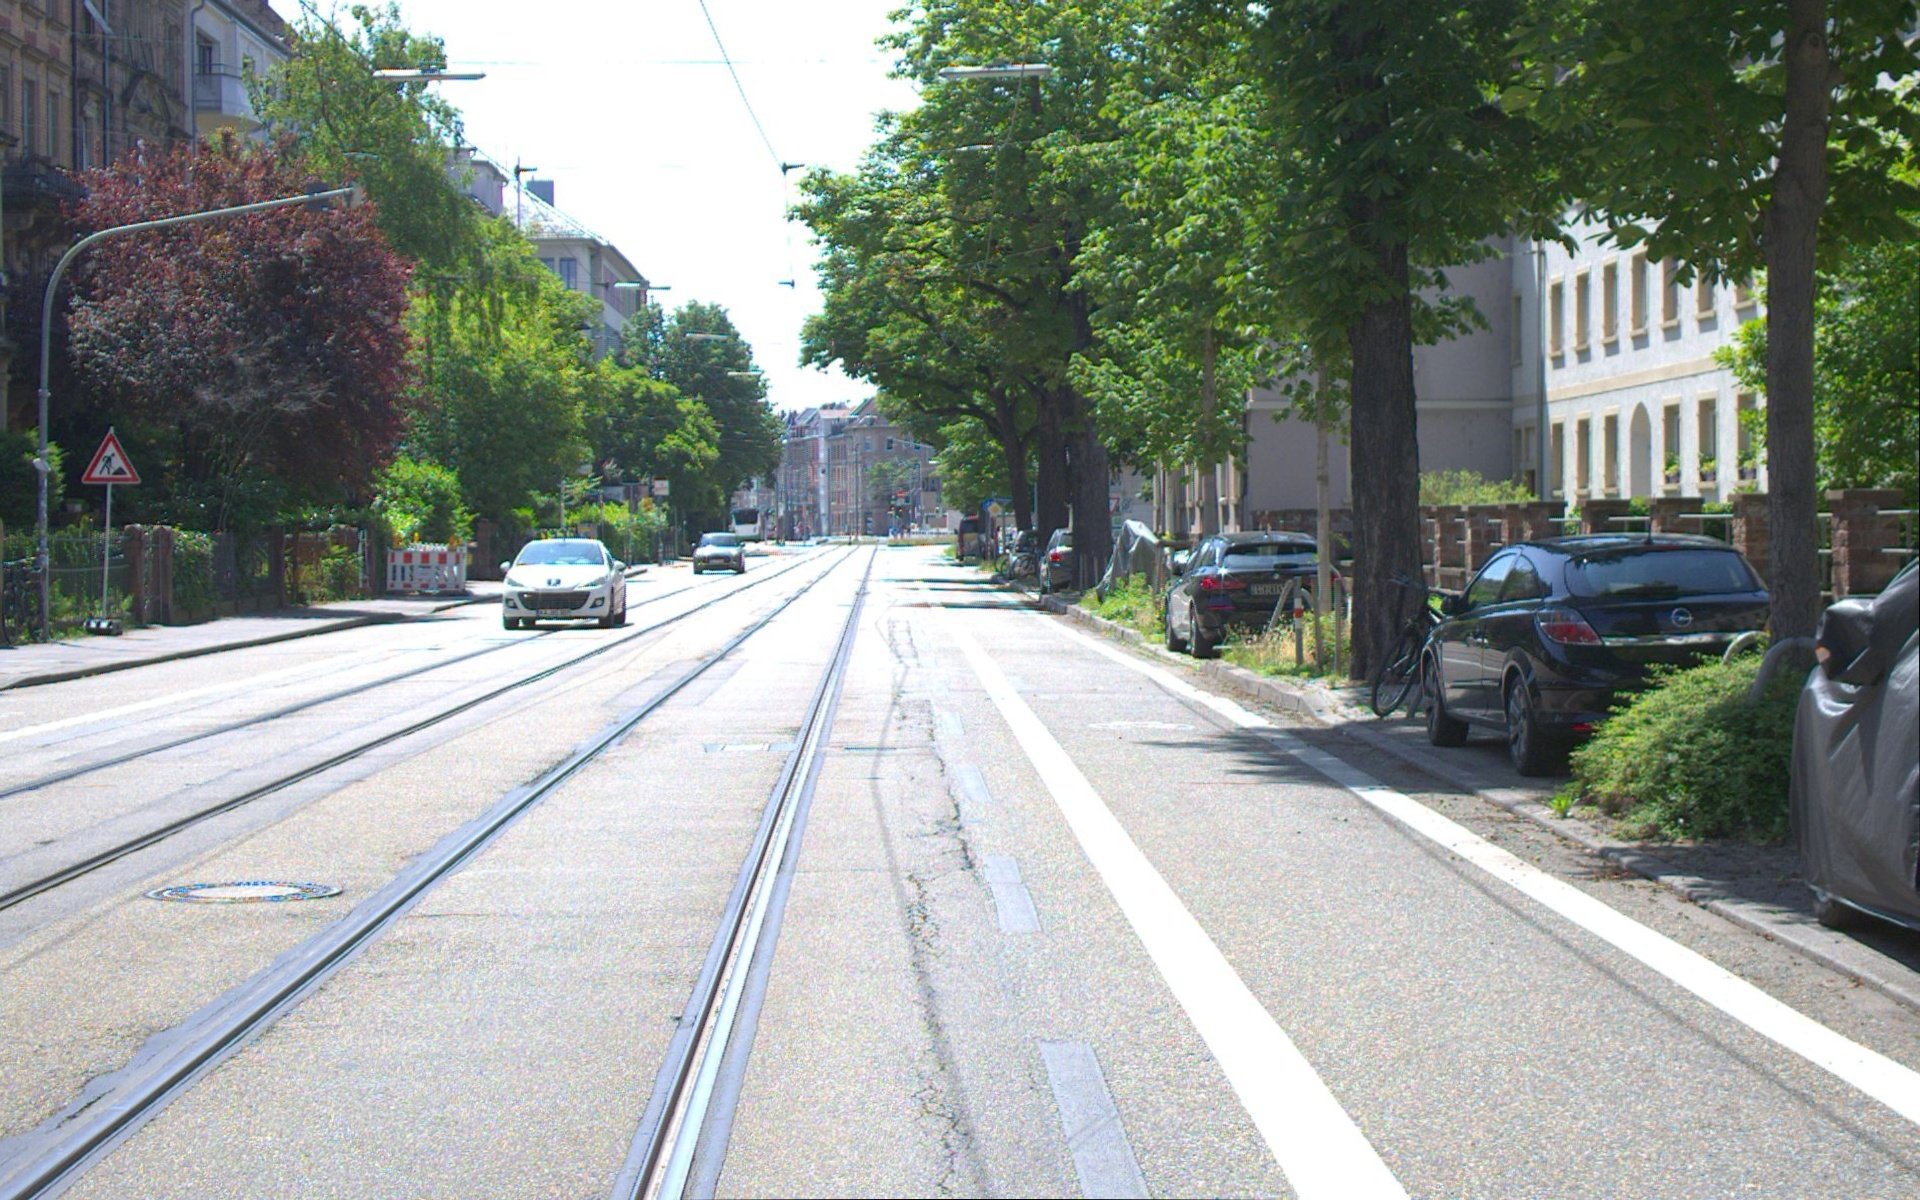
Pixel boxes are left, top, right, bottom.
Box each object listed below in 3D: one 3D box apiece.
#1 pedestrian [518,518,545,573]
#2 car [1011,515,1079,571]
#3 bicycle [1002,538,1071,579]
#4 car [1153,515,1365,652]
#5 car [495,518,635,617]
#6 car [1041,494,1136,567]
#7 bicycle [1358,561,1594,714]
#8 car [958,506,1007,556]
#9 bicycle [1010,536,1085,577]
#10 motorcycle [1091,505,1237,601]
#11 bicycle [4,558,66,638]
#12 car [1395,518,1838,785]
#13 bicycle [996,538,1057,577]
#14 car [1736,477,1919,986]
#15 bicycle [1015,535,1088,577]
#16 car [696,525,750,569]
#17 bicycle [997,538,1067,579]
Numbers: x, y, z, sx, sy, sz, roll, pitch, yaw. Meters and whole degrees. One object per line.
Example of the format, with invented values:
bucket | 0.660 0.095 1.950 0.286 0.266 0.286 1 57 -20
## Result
pedestrian | -12.830 -1.636 102.872 0.750 1.623 0.833 -1 1 -7
car | 2.376 -1.621 96.882 1.621 1.443 3.810 -4 1 -1
bicycle | 2.245 -1.212 101.082 1.963 1.109 0.598 -3 0 1
car | 3.497 -0.243 41.069 1.769 1.421 4.863 -2 2 -4
car | -6.243 -0.545 54.666 1.756 1.419 4.000 -2 2 -1
car | 2.888 -1.602 78.064 1.774 1.496 4.306 -3 2 -2
bicycle | 3.943 0.277 26.291 1.652 1.074 0.606 -2 2 -8
car | 0.976 -3.062 151.161 1.993 2.028 4.698 -2 2 -1
bicycle | 2.357 -1.171 92.455 1.963 1.059 0.598 -2 1 6
motorcycle | 3.346 -0.768 56.545 2.318 1.535 0.867 0 3 42
bicycle | -12.227 -0.038 45.470 0.454 1.000 1.807 -2 2 -5
car | 4.032 0.242 21.822 1.694 1.414 4.358 -2 2 -4
bicycle | 2.063 -1.310 106.257 1.816 1.109 0.493 -3 0 -1
car | 4.130 0.404 11.754 1.947 1.645 4.880 -2 2 2
bicycle | 2.456 -1.179 92.080 1.890 1.048 0.538 -2 1 6
car | -8.368 -1.882 121.731 1.686 1.449 3.749 -2 2 -1
bicycle | 2.139 -1.225 101.754 2.010 1.109 0.640 -3 0 1
